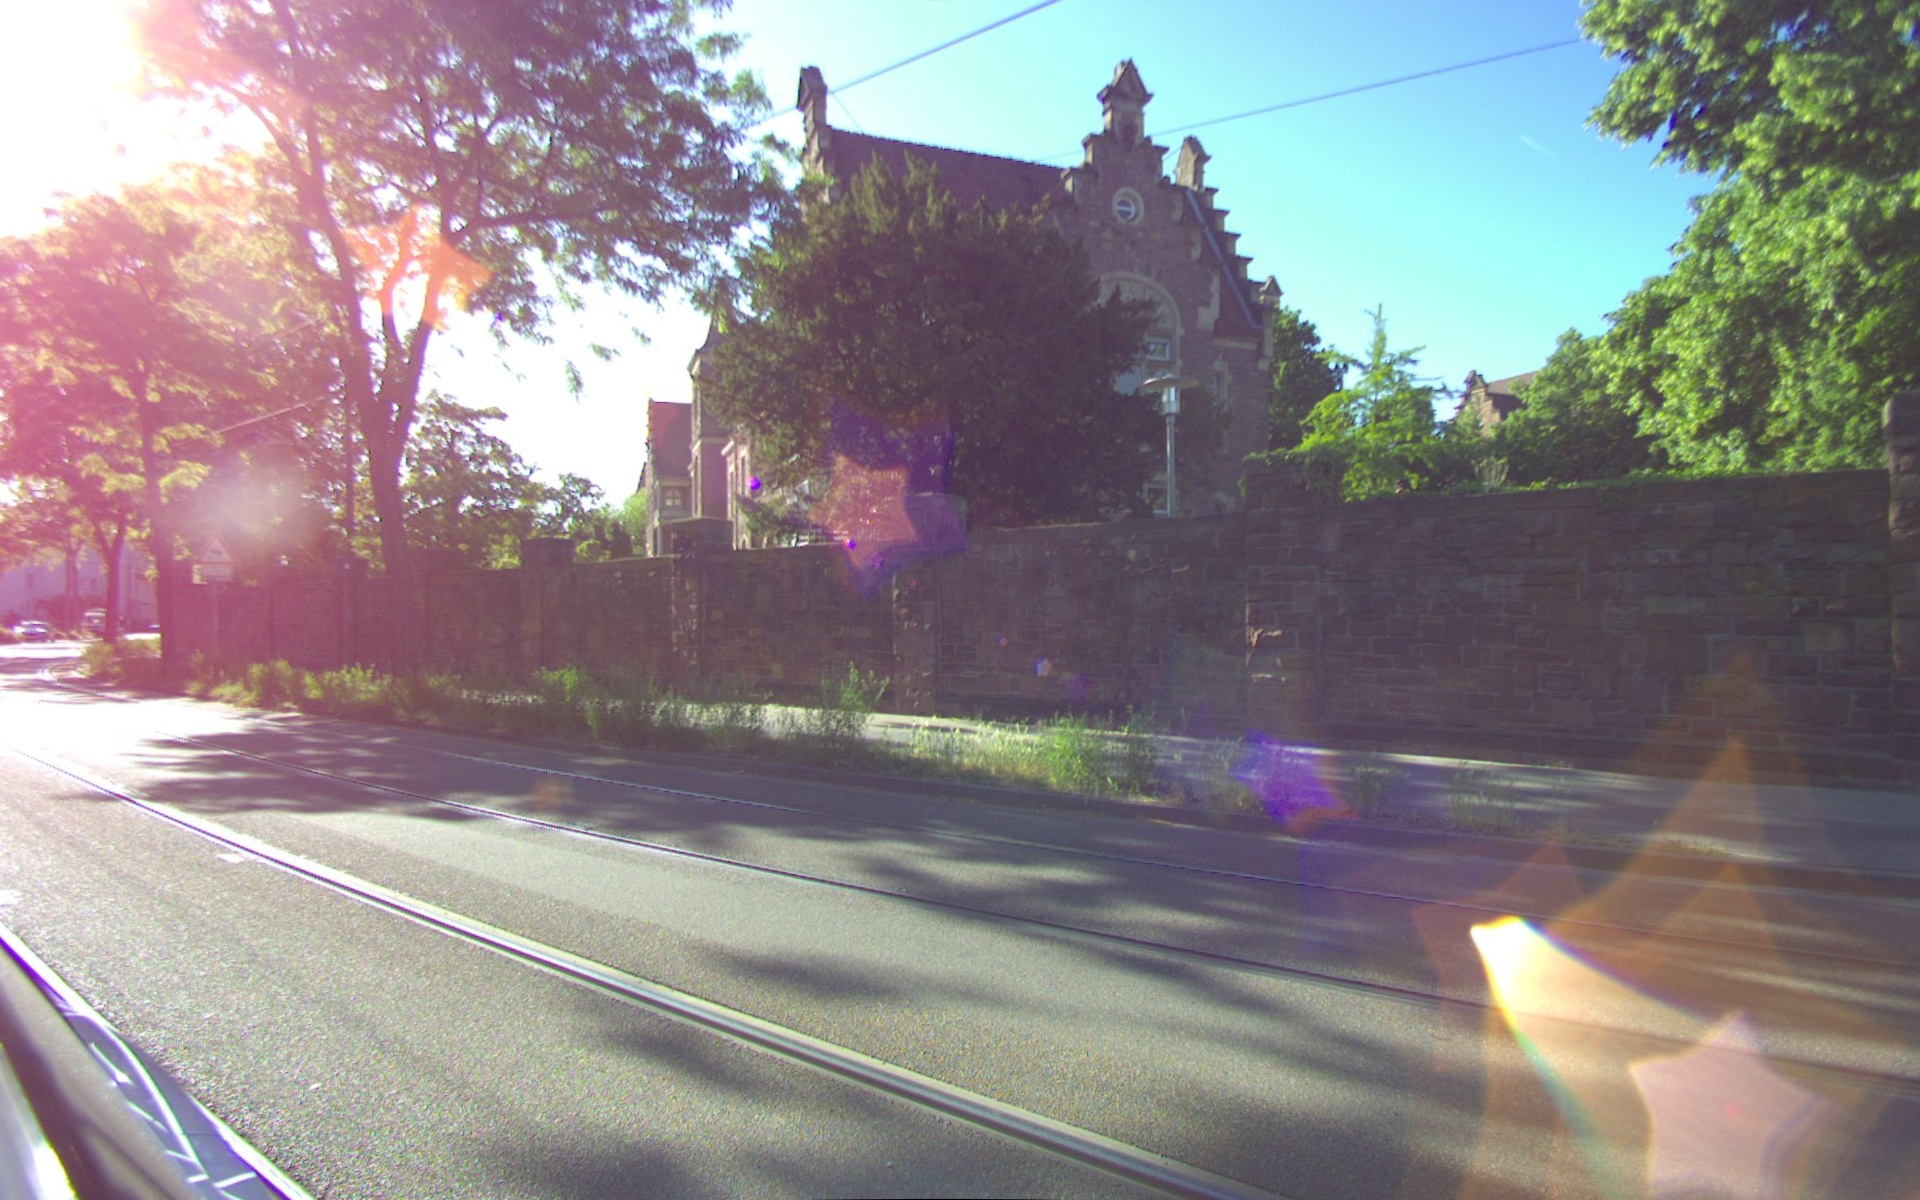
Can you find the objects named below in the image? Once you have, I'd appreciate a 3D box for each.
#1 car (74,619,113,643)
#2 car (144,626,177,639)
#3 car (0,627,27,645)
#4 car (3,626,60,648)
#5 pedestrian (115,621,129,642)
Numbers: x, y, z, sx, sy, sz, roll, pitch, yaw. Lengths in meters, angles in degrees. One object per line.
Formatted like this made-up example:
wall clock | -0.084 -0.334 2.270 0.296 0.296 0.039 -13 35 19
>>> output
car | -77.164 2.754 90.199 1.966 2.111 4.730 0 -2 -32
car | -92.313 3.737 116.855 1.713 1.507 4.544 0 -1 -21
car | -89.998 3.391 94.207 2.009 1.501 4.401 3 1 41
car | -68.041 2.713 74.237 1.973 1.476 5.449 4 -3 -31
pedestrian | -73.490 2.759 88.777 0.866 1.879 1.022 0 -1 -37
